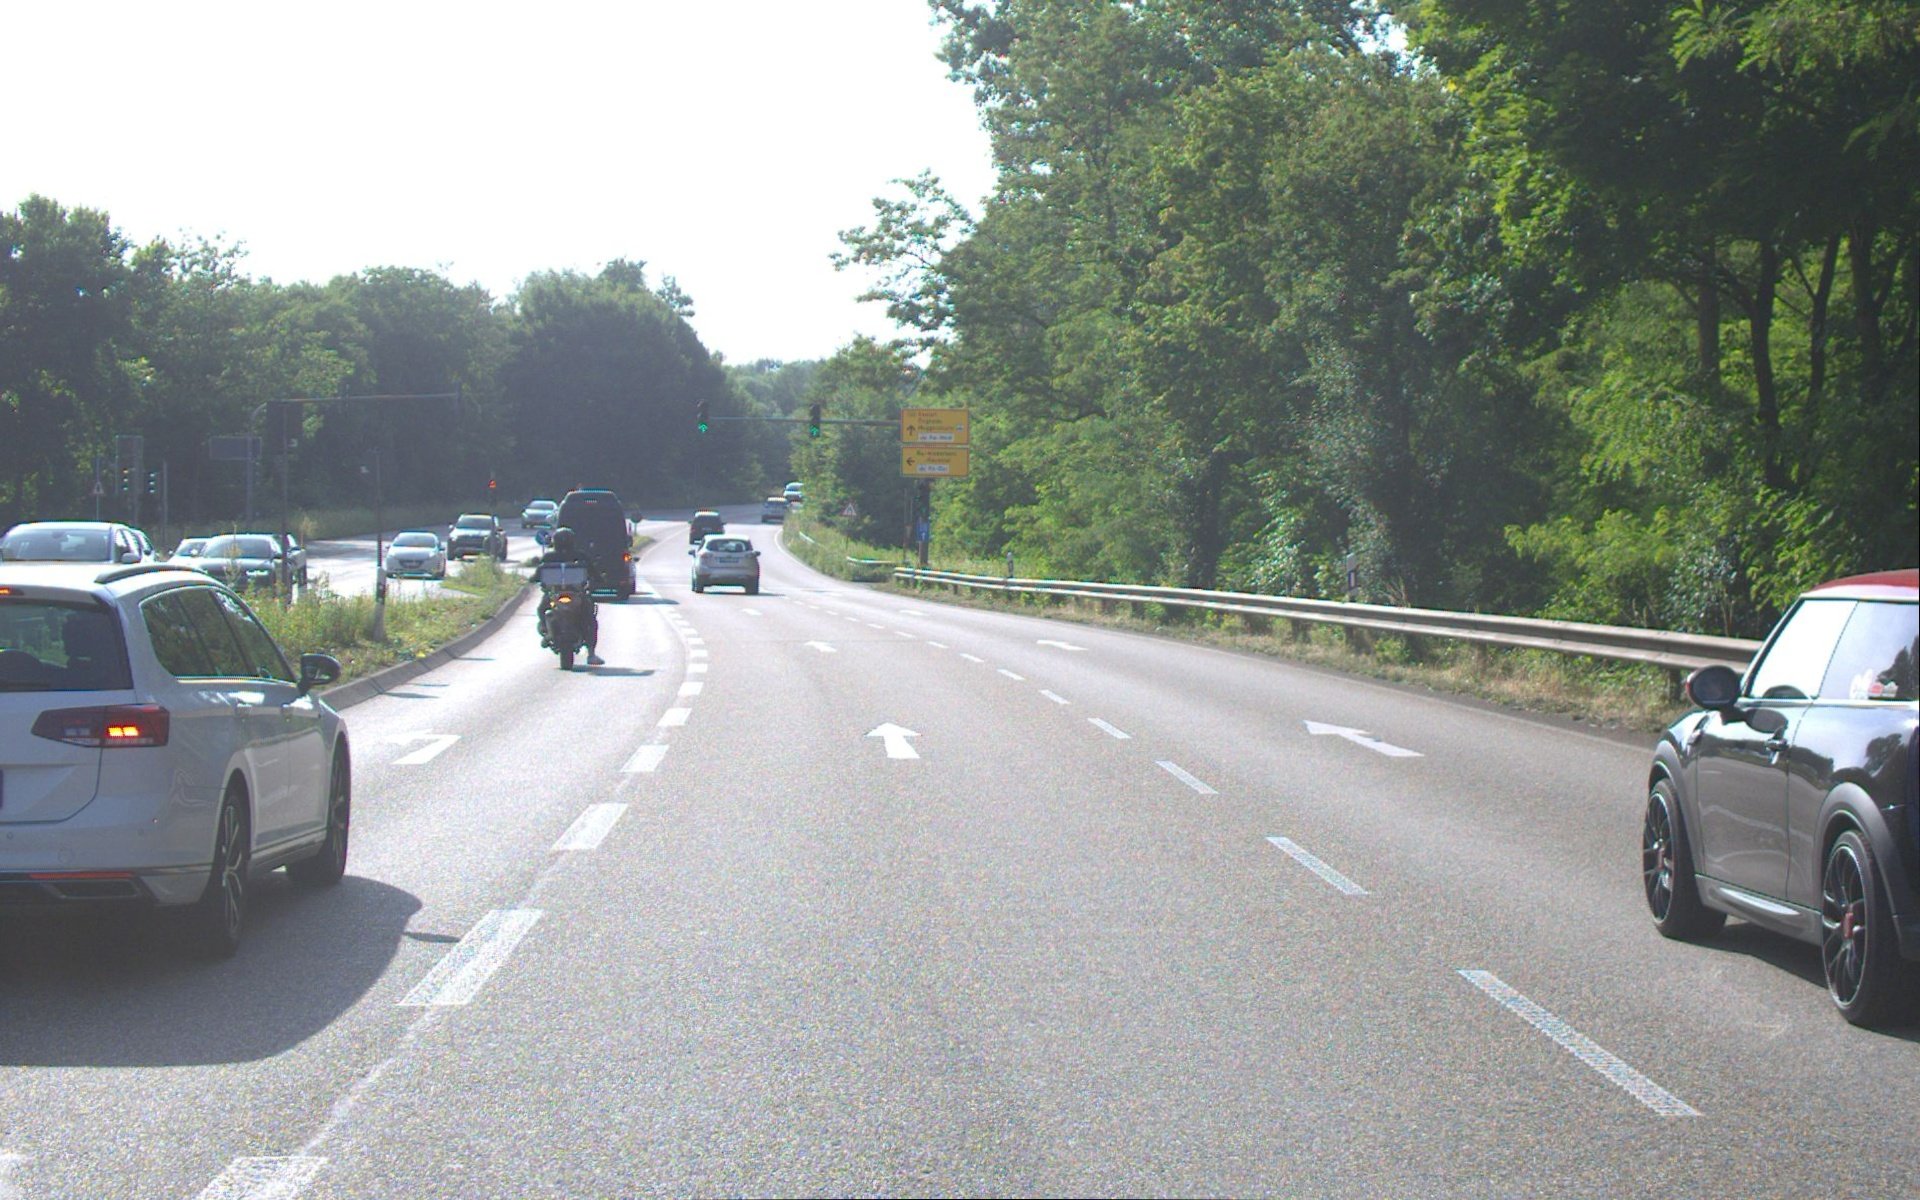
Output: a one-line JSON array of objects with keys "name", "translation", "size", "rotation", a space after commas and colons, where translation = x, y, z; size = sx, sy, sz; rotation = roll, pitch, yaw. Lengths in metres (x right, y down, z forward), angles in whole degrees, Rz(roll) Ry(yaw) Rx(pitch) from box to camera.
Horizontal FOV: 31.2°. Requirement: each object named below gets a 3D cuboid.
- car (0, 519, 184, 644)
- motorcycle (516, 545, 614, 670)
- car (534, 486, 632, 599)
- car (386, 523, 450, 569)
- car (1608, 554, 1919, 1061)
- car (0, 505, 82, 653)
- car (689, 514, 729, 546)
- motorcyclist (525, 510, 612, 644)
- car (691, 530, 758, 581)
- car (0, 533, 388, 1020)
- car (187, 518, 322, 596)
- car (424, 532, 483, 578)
[{"name": "car", "translation": [-10.609, -0.264, 41.099], "size": [1.867, 1.412, 4.416], "rotation": [0, 1, -3]}, {"name": "motorcycle", "translation": [-4.909, 0.075, 42.896], "size": [0.908, 1.448, 2.689], "rotation": [-2, 2, -1]}, {"name": "car", "translation": [-9.970, -1.552, 91.401], "size": [2.209, 2.878, 7.012], "rotation": [0, 1, -3]}, {"name": "car", "translation": [-17.838, -1.782, 113.353], "size": [1.788, 1.406, 4.228], "rotation": [2, 1, -6]}, {"name": "car", "translation": [3.558, 0.585, 12.040], "size": [1.819, 1.462, 3.873], "rotation": [0, 1, 0]}, {"name": "car", "translation": [-10.141, -0.236, 34.441], "size": [1.767, 1.412, 4.435], "rotation": [0, 1, -3]}, {"name": "car", "translation": [-12.573, -3.517, 172.012], "size": [1.744, 1.532, 3.927], "rotation": [2, 1, -7]}, {"name": "motorcyclist", "translation": [-4.871, -0.292, 42.850], "size": [0.883, 1.610, 1.290], "rotation": [2, 1, -1]}, {"name": "car", "translation": [-6.813, -1.309, 99.925], "size": [1.761, 1.375, 3.972], "rotation": [2, 1, -2]}, {"name": "car", "translation": [-3.583, 0.546, 13.904], "size": [1.870, 1.516, 4.835], "rotation": [3, 1, -3]}, {"name": "car", "translation": [-16.050, -1.018, 78.563], "size": [2.102, 1.702, 6.226], "rotation": [0, 1, -3]}, {"name": "car", "translation": [-20.148, -1.822, 136.864], "size": [2.075, 1.757, 4.758], "rotation": [-1, 1, -6]}]
